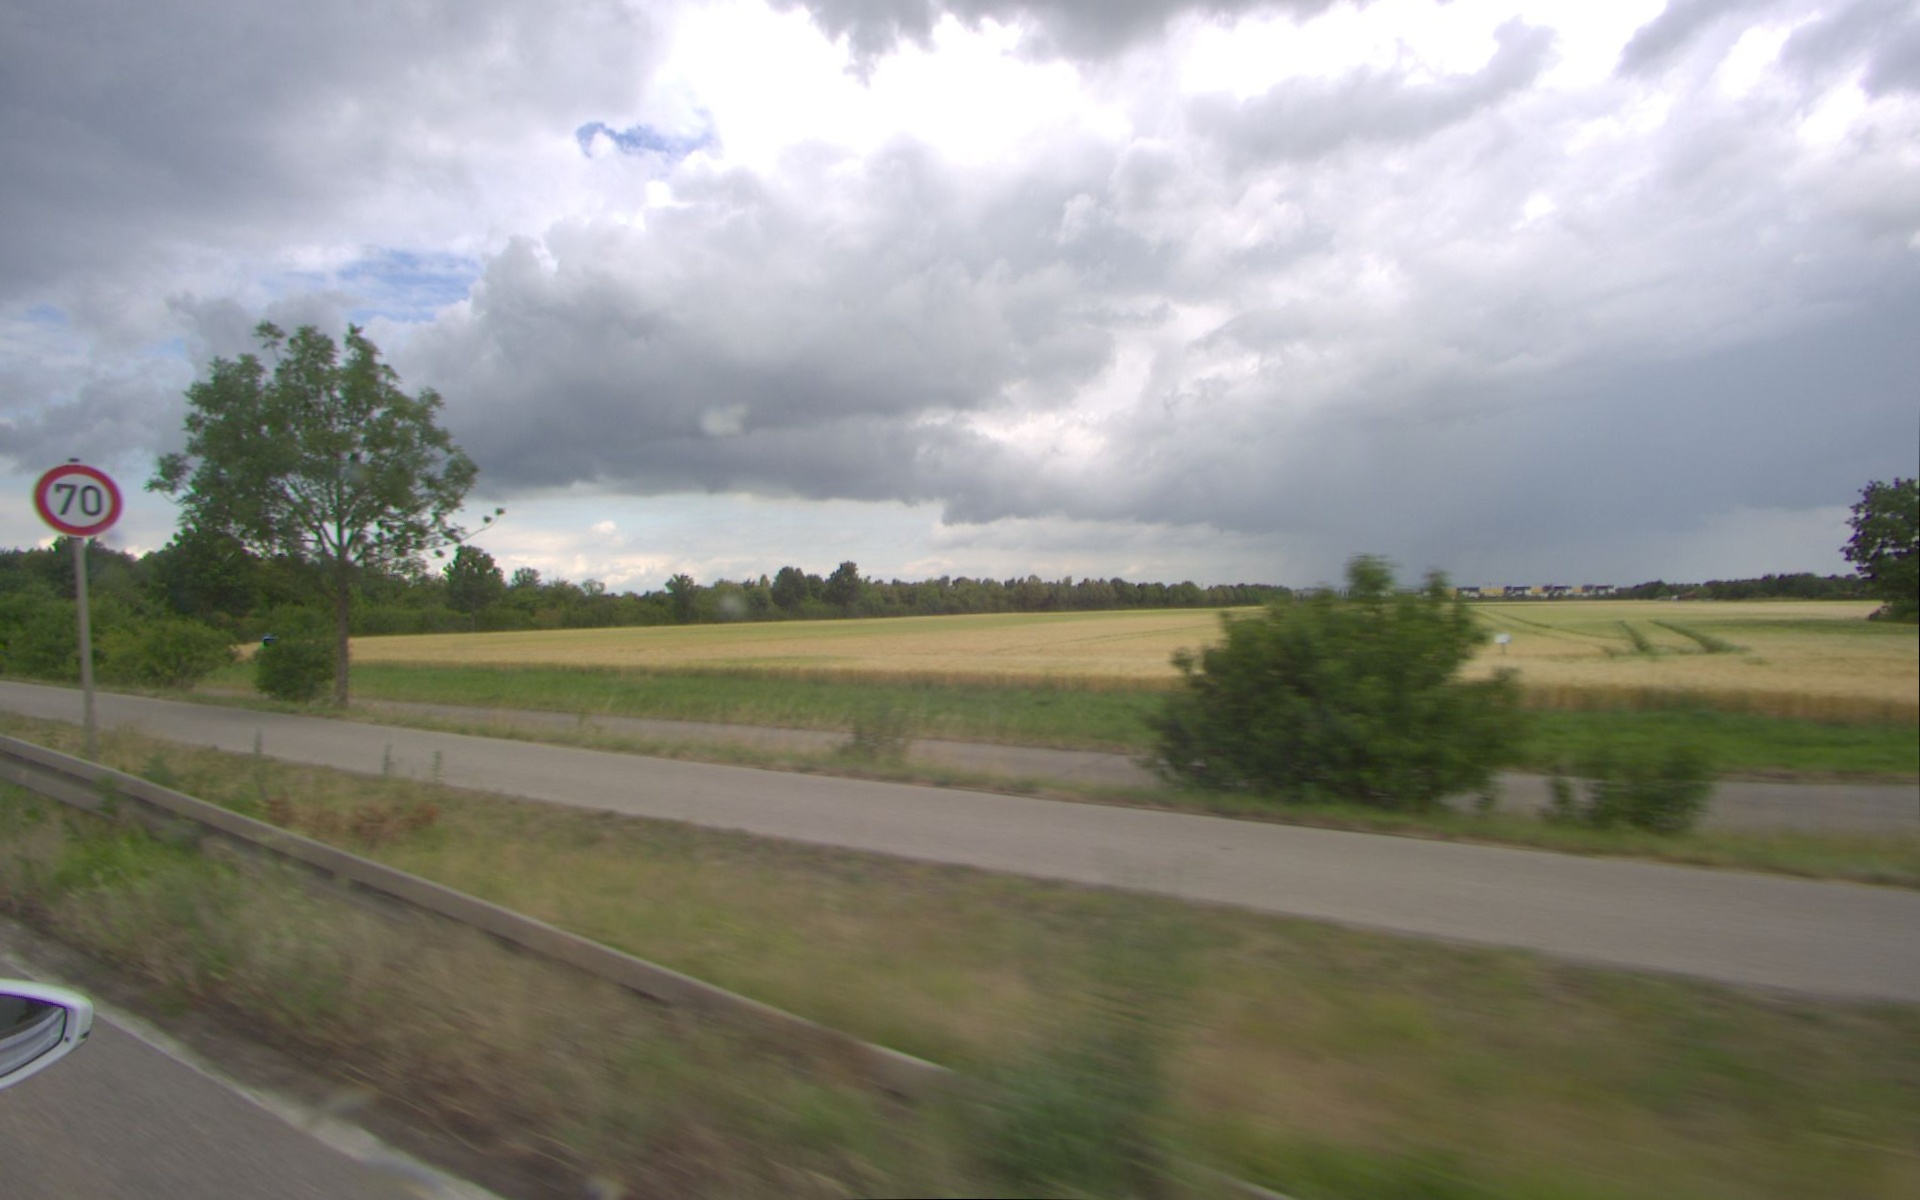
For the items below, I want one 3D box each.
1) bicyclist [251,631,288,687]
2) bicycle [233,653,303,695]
[{"bbox_3d":[-20.167,1.720,29.262,0.733,1.601,0.655,-1,-1,32],"label":"bicyclist"},{"bbox_3d":[-20.298,2.155,29.354,2.790,1.153,0.655,-1,-2,32],"label":"bicycle"}]
